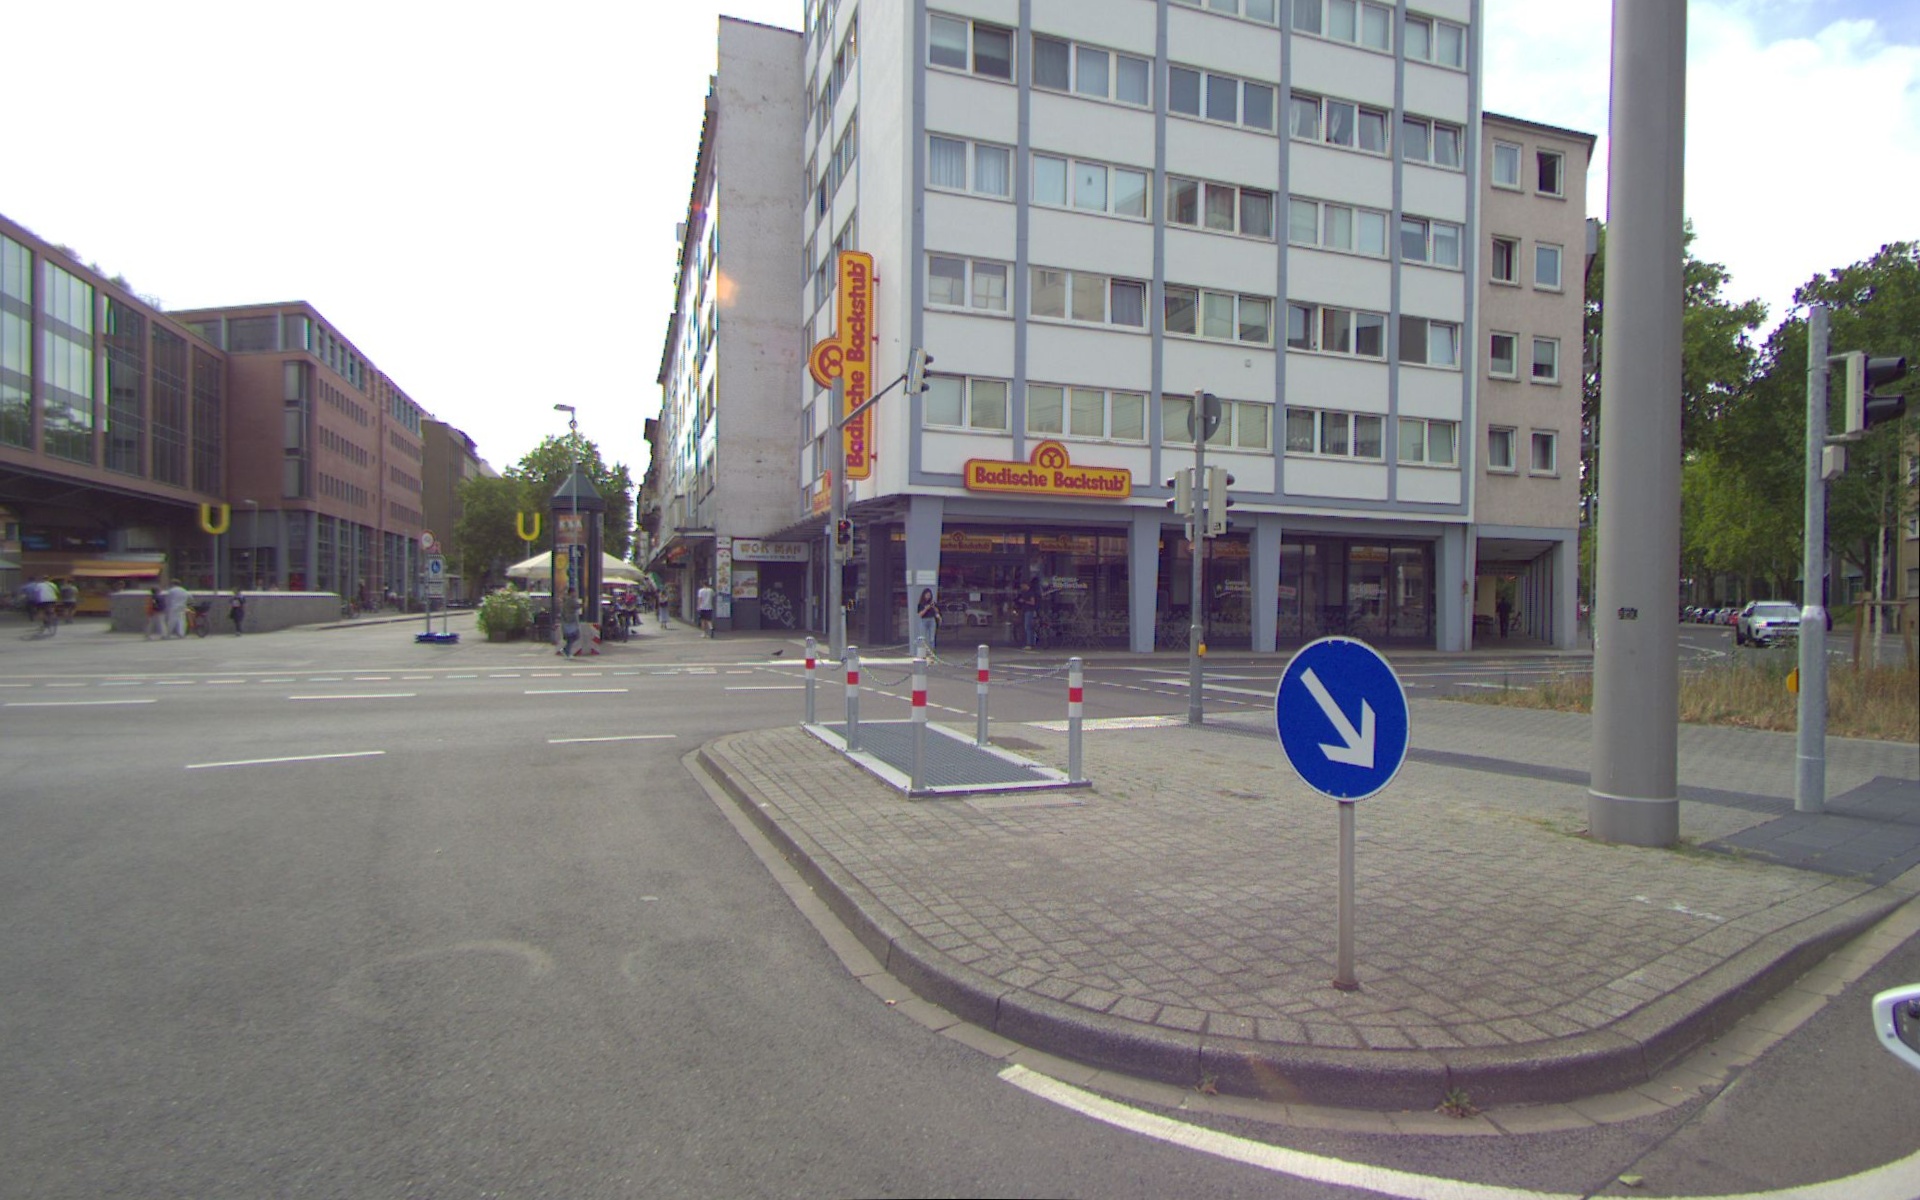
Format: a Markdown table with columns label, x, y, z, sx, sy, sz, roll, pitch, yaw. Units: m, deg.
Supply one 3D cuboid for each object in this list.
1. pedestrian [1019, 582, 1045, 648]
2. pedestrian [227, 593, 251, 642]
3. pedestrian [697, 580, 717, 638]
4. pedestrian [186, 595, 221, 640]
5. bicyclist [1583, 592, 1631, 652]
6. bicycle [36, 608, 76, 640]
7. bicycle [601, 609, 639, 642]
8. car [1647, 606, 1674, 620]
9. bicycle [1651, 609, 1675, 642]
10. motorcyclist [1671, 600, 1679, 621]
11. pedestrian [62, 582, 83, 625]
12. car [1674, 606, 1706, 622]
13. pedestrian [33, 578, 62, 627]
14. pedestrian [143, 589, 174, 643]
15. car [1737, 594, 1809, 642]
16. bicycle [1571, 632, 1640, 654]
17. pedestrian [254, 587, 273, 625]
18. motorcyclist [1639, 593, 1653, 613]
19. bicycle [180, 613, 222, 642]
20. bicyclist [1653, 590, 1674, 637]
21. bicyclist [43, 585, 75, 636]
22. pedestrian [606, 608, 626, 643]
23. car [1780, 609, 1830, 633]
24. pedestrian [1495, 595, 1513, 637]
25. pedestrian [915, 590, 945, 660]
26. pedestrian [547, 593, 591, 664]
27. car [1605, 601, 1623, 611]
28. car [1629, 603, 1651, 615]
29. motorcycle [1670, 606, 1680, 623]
| label | x | y | z | sx | sy | sz | roll | pitch | yaw |
| --- | --- | --- | --- | --- | --- | --- | --- | --- | --- |
| pedestrian | 1.958 | 0.403 | 27.349 | 0.580 | 1.789 | 0.475 | 0 | 1 | -19 |
| pedestrian | -23.928 | 0.576 | 33.347 | 0.512 | 1.598 | 0.505 | 0 | 1 | -17 |
| pedestrian | -8.309 | 0.282 | 32.994 | 0.572 | 1.884 | 0.861 | 0 | 0 | -19 |
| pedestrian | -24.138 | 0.552 | 32.044 | 0.849 | 1.393 | 0.631 | 1 | 0 | 30 |
| bicyclist | 18.438 | 0.618 | 28.622 | 1.020 | 1.668 | 0.608 | 0 | 0 | -16 |
| bicycle | -29.175 | 0.768 | 32.414 | 1.757 | 1.002 | 0.472 | 1 | 0 | 32 |
| bicycle | -10.763 | 0.788 | 31.776 | 0.470 | 1.002 | 1.766 | 0 | 0 | -43 |
| car | 77.777 | 1.432 | 111.550 | 1.649 | 1.412 | 4.457 | 1 | 0 | 25 |
| bicycle | 26.992 | 0.963 | 38.588 | 0.503 | 1.241 | 1.562 | 1 | 0 | 25 |
| motorcyclist | 59.418 | 0.872 | 83.460 | 0.439 | 1.669 | 0.519 | 1 | 0 | 27 |
| pedestrian | -35.019 | 0.135 | 39.639 | 0.457 | 1.685 | 0.519 | 0 | 0 | -18 |
| car | 68.734 | 1.319 | 94.608 | 1.604 | 1.489 | 4.313 | 1 | 0 | 25 |
| pedestrian | -31.716 | 0.090 | 34.918 | 0.572 | 1.685 | 0.519 | 0 | 0 | -18 |
| pedestrian | -24.922 | 0.499 | 31.235 | 0.459 | 1.663 | 0.631 | 1 | 1 | 32 |
| car | 30.333 | 0.631 | 37.595 | 1.808 | 1.682 | 4.309 | 1 | 0 | 35 |
| bicycle | 18.461 | 1.227 | 28.706 | 1.965 | 0.596 | 0.483 | 0 | 0 | -16 |
| pedestrian | -31.101 | 0.275 | 44.875 | 0.572 | 1.685 | 0.519 | 0 | 0 | -18 |
| motorcyclist | 51.441 | 0.210 | 75.349 | 0.784 | 1.480 | 0.863 | -1 | -1 | 30 |
| bicycle | -24.292 | 0.865 | 32.128 | 1.757 | 0.900 | 0.472 | 1 | 0 | 32 |
| bicyclist | 26.998 | 0.512 | 38.575 | 0.529 | 1.767 | 0.757 | 1 | 0 | 26 |
| bicyclist | -29.020 | 0.330 | 32.347 | 0.868 | 1.590 | 0.545 | 1 | 1 | 32 |
| pedestrian | -11.667 | 0.861 | 34.061 | 0.528 | 1.148 | 0.439 | 1 | 1 | 43 |
| car | 56.393 | 1.382 | 67.110 | 1.632 | 1.441 | 3.862 | 1 | 1 | 26 |
| pedestrian | 23.699 | 0.681 | 43.744 | 0.572 | 1.781 | 0.783 | 3 | 1 | 26 |
| pedestrian | -0.691 | 0.573 | 23.026 | 0.511 | 1.580 | 0.497 | 0 | 0 | -26 |
| pedestrian | -9.079 | 0.639 | 23.333 | 0.648 | 1.615 | 0.687 | 1 | 1 | 29 |
| car | 93.686 | 0.914 | 143.932 | 1.649 | 1.412 | 3.875 | 1 | 0 | 25 |
| car | 84.885 | 1.155 | 125.389 | 1.615 | 1.432 | 3.414 | 1 | 0 | 23 |
| motorcycle | 59.437 | 1.218 | 83.506 | 0.367 | 1.368 | 1.729 | 1 | 0 | 26 |
